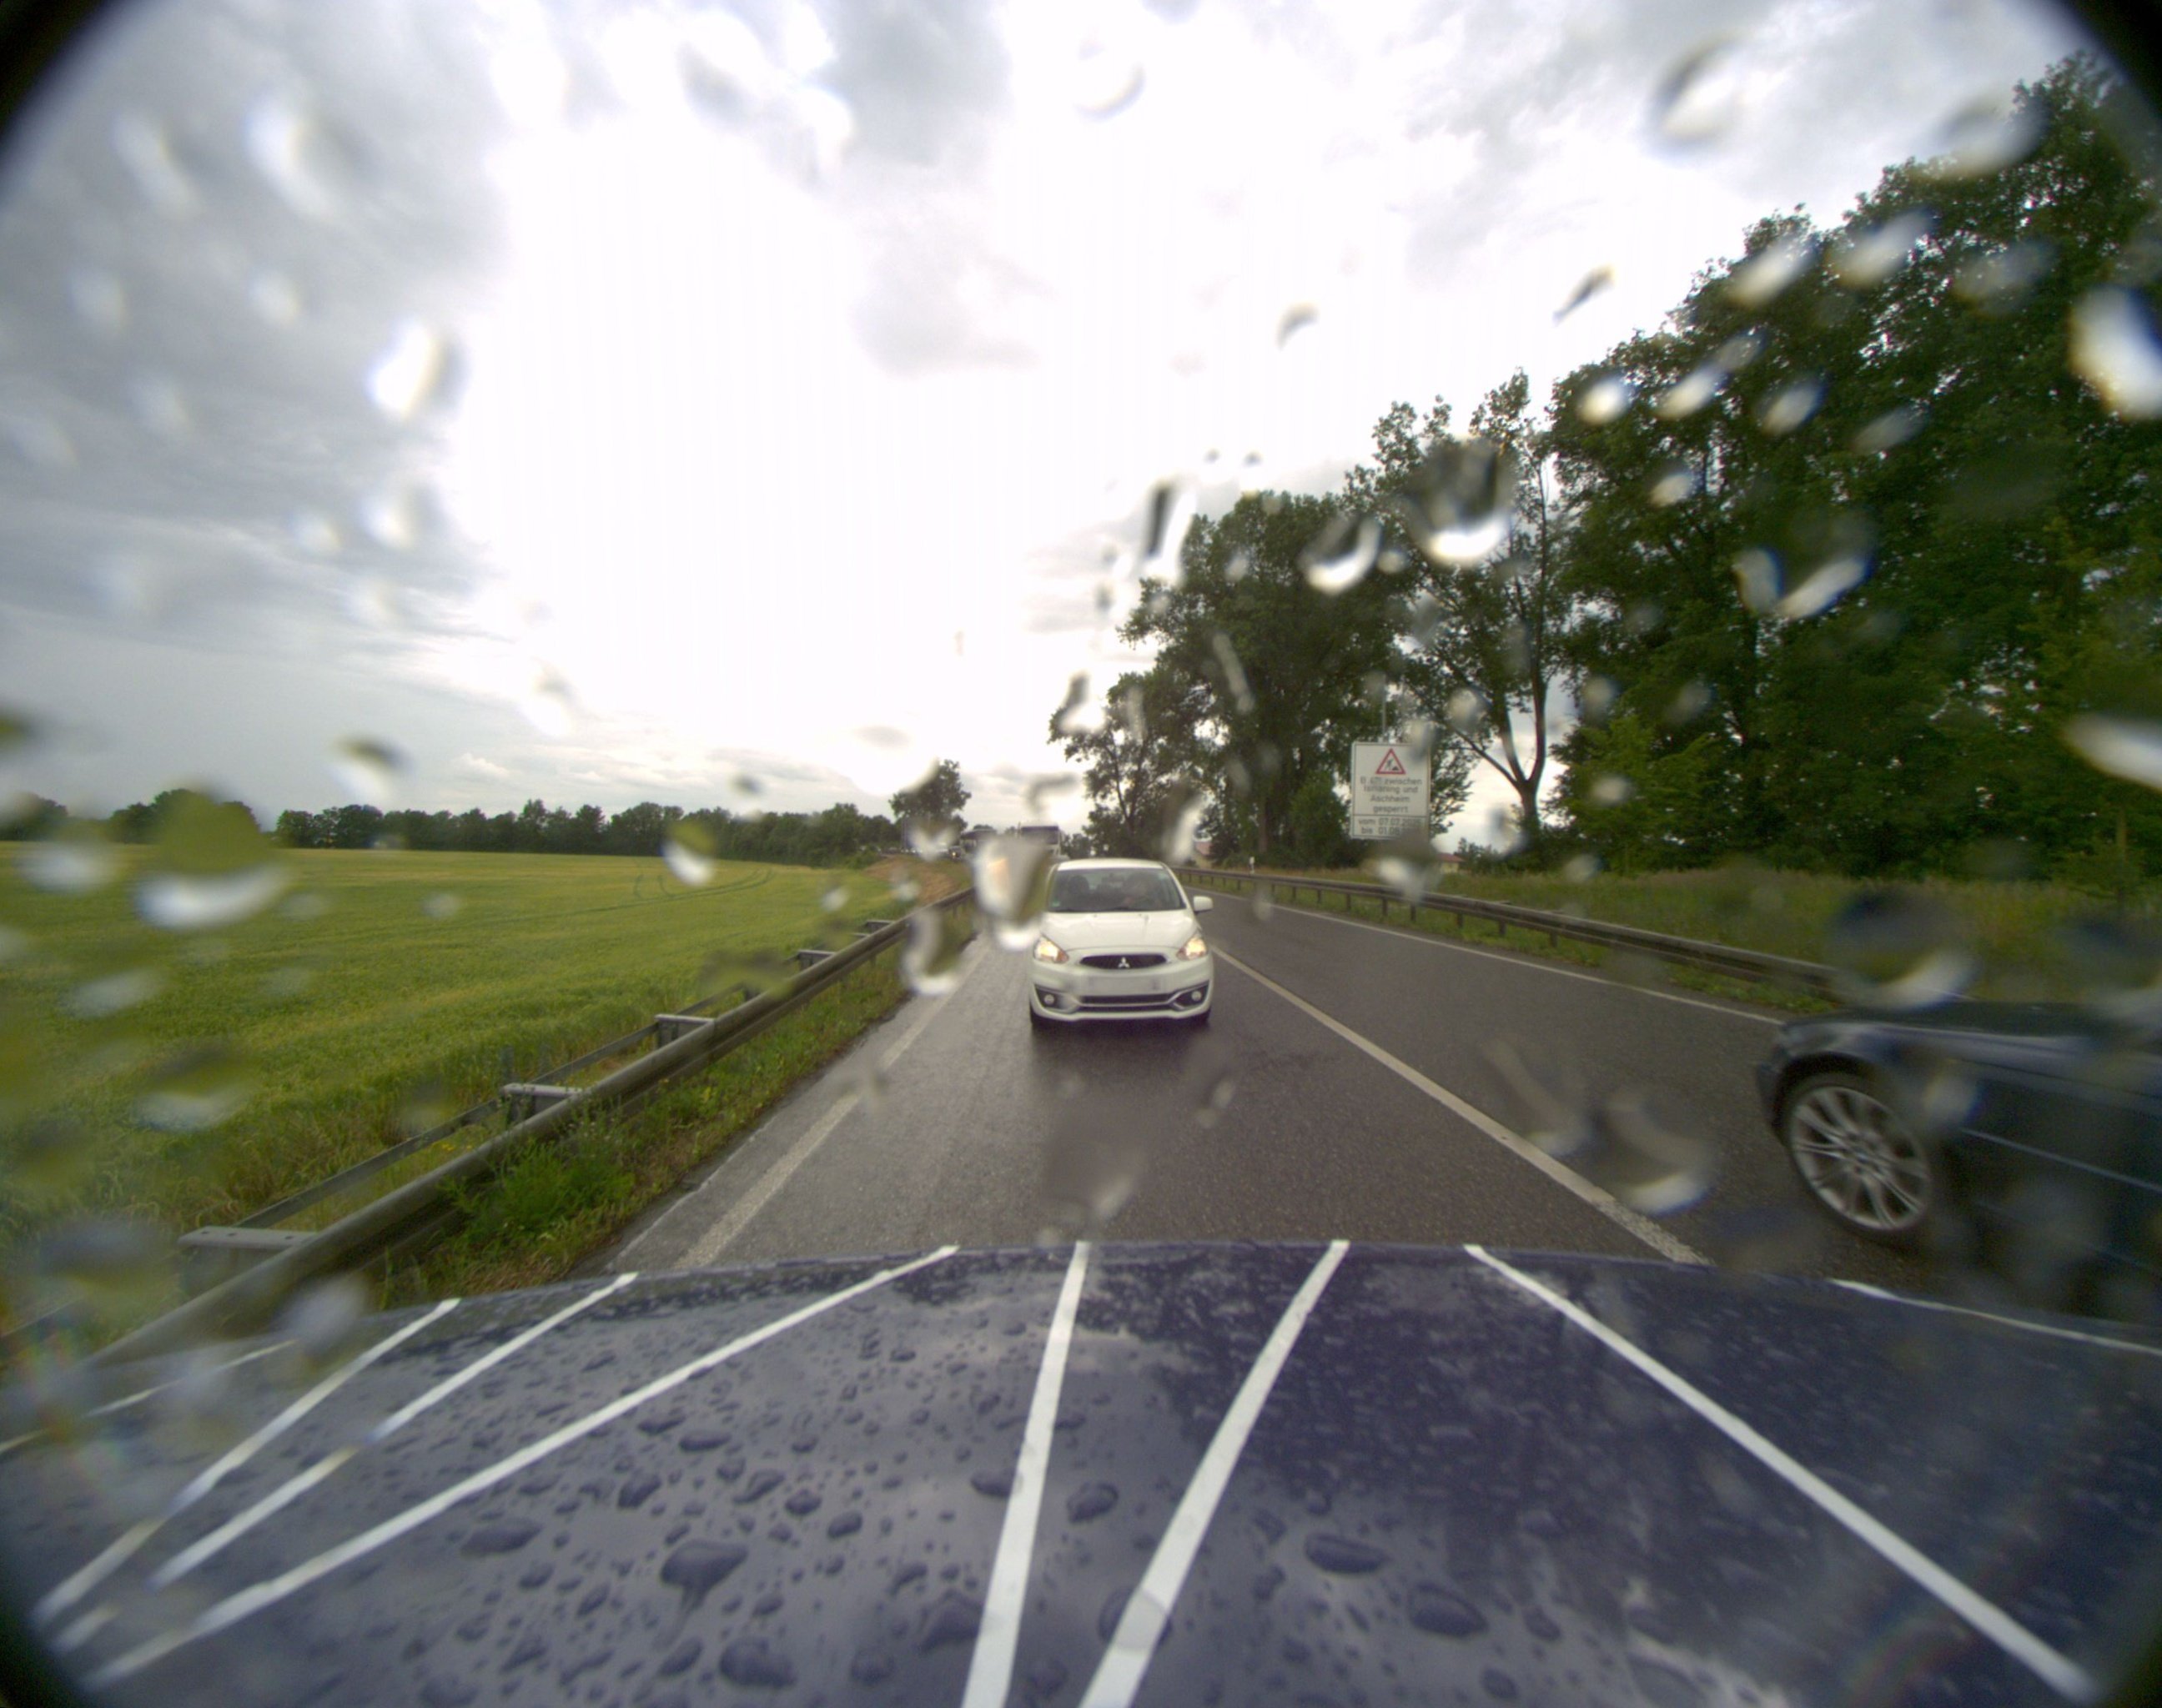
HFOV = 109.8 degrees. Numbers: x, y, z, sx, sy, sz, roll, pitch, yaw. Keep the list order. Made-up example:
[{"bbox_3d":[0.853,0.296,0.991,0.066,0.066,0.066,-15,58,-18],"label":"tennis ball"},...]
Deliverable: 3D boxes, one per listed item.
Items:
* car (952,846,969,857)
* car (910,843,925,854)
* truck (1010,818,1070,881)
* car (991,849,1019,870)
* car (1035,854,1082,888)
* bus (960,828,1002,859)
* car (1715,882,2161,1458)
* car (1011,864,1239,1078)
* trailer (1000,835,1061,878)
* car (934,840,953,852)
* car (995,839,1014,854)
[{"bbox_3d":[-17.625,-0.404,110.896,1.816,1.569,3.993,-2,1,-17],"label":"car"},{"bbox_3d":[-32.526,-1.042,151.133,2.002,2.002,4.223,-2,1,-24],"label":"car"},{"bbox_3d":[-2.664,-0.292,47.293,2.986,3.589,6.074,-2,1,-9],"label":"truck"},{"bbox_3d":[-7.337,0.453,72.874,2.044,1.832,5.329,-2,1,-12],"label":"car"},{"bbox_3d":[-1.125,0.761,36.312,1.782,1.380,4.325,-2,1,-7],"label":"car"},{"bbox_3d":[-12.415,-1.345,92.822,2.967,3.294,14.814,-2,2,-15],"label":"bus"},{"bbox_3d":[3.597,0.858,1.188,1.634,1.388,4.319,-2,0,1],"label":"car"},{"bbox_3d":[0.303,0.890,7.652,1.653,1.461,4.029,-2,0,-1],"label":"car"},{"bbox_3d":[-3.976,0.084,55.778,2.986,2.618,15.667,-2,1,-9],"label":"trailer"},{"bbox_3d":[-23.206,-1.295,128.062,2.002,2.002,5.325,-2,1,-23],"label":"car"},{"bbox_3d":[-10.332,-0.970,102.389,1.823,1.913,4.172,-2,1,-16],"label":"car"}]
